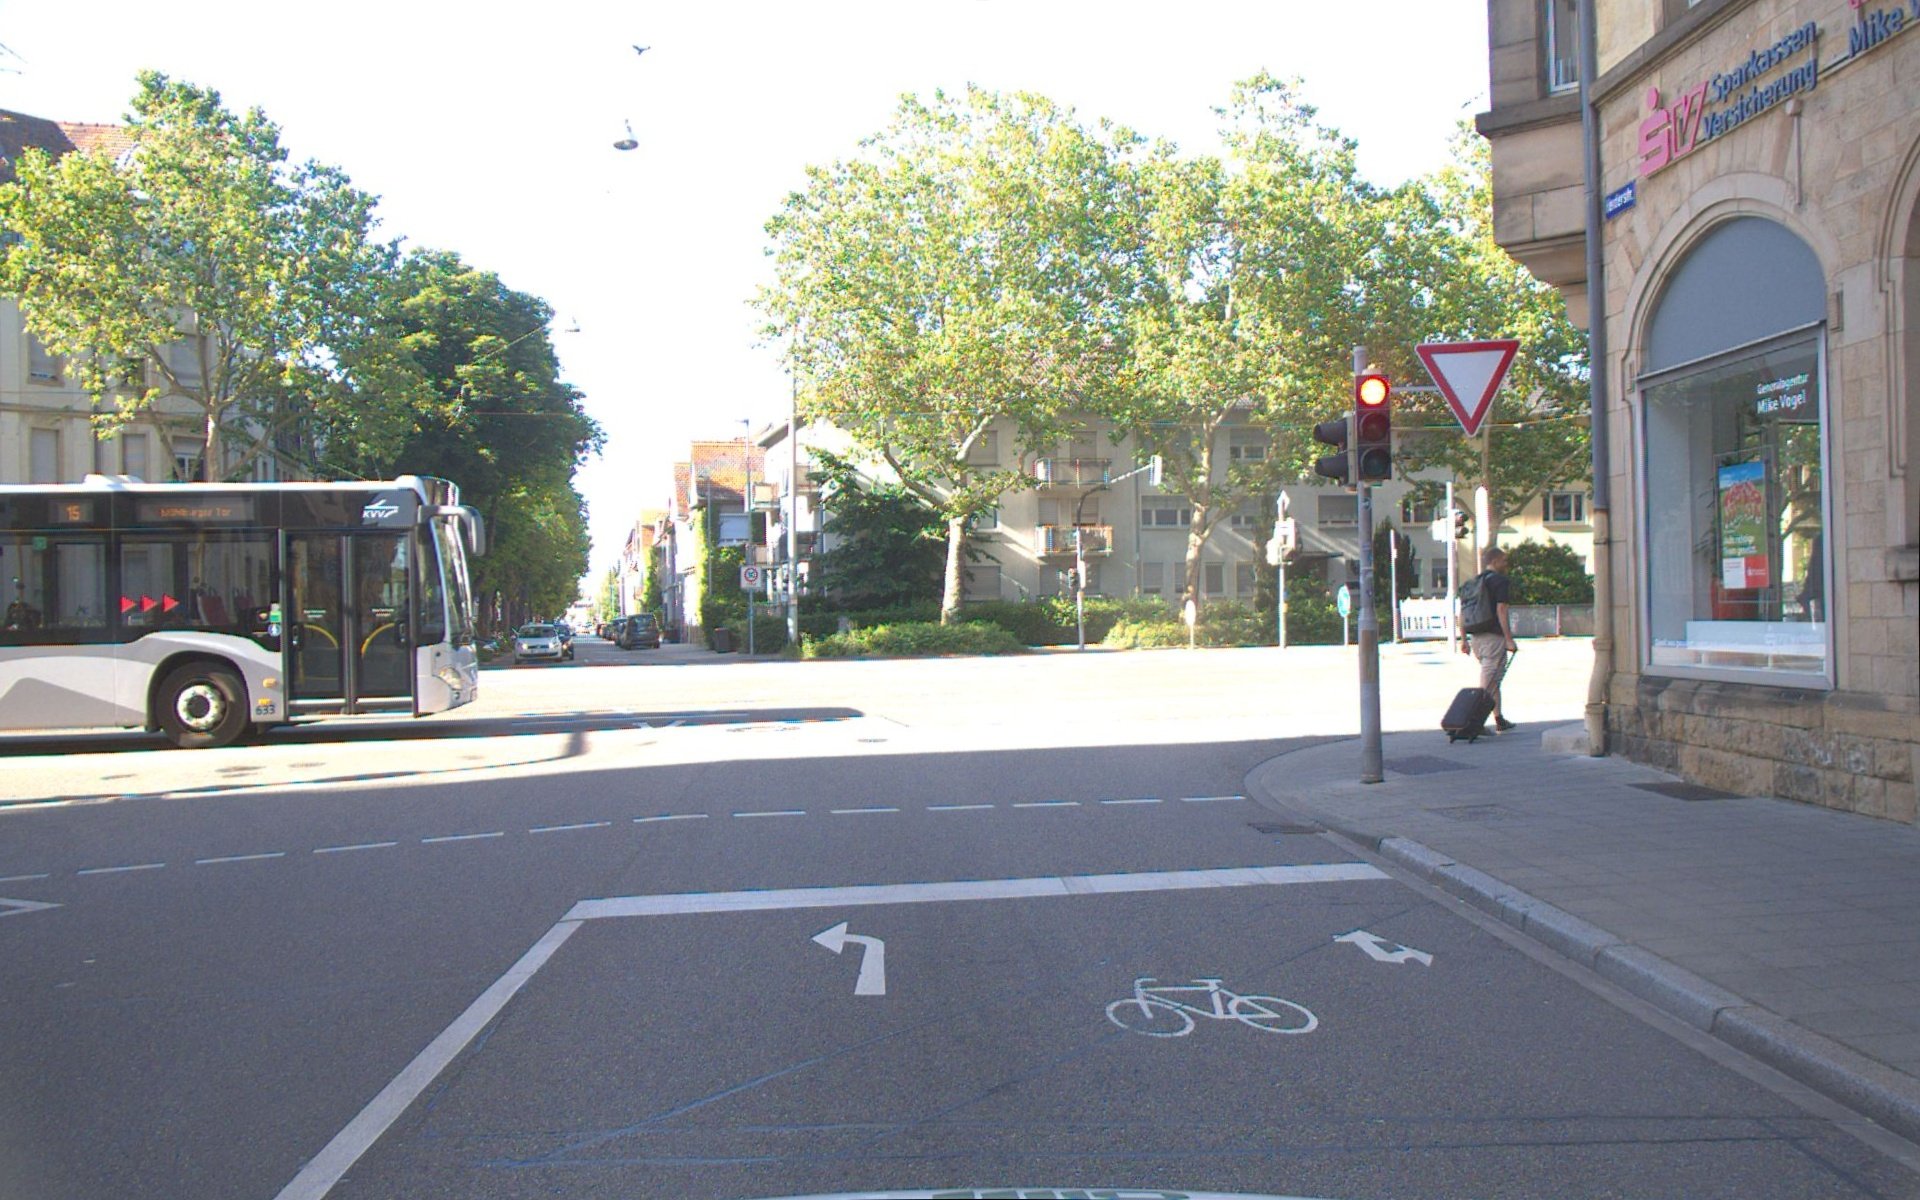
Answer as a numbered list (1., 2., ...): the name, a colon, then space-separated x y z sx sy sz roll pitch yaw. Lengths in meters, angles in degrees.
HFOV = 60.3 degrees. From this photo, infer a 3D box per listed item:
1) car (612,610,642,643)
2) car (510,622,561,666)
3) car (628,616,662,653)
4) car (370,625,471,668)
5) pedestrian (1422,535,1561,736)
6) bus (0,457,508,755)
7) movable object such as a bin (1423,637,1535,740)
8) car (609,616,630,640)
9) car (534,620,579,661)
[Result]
1. car: -21.011 1.669 104.292 1.742 1.952 3.523 -3 0 -12
2. car: -16.169 1.645 63.080 1.669 1.509 3.523 -3 1 -12
3. car: -17.977 1.931 94.219 1.742 1.952 3.523 -3 0 -12
4. car: -20.448 1.746 62.808 3.572 1.483 1.650 -1 0 -16
5. pedestrian: 5.131 0.331 15.989 1.047 1.881 0.746 0 0 -13
6. bus: -10.197 0.065 18.876 9.447 3.150 2.739 -1 0 -11
7. movable object such as a bin: 4.847 0.817 15.468 0.847 0.907 0.508 -2 0 -13
8. car: -30.041 2.472 145.938 1.742 1.952 3.523 -3 0 -12
9. car: -16.812 1.664 69.070 1.669 1.509 3.523 -3 1 -12
